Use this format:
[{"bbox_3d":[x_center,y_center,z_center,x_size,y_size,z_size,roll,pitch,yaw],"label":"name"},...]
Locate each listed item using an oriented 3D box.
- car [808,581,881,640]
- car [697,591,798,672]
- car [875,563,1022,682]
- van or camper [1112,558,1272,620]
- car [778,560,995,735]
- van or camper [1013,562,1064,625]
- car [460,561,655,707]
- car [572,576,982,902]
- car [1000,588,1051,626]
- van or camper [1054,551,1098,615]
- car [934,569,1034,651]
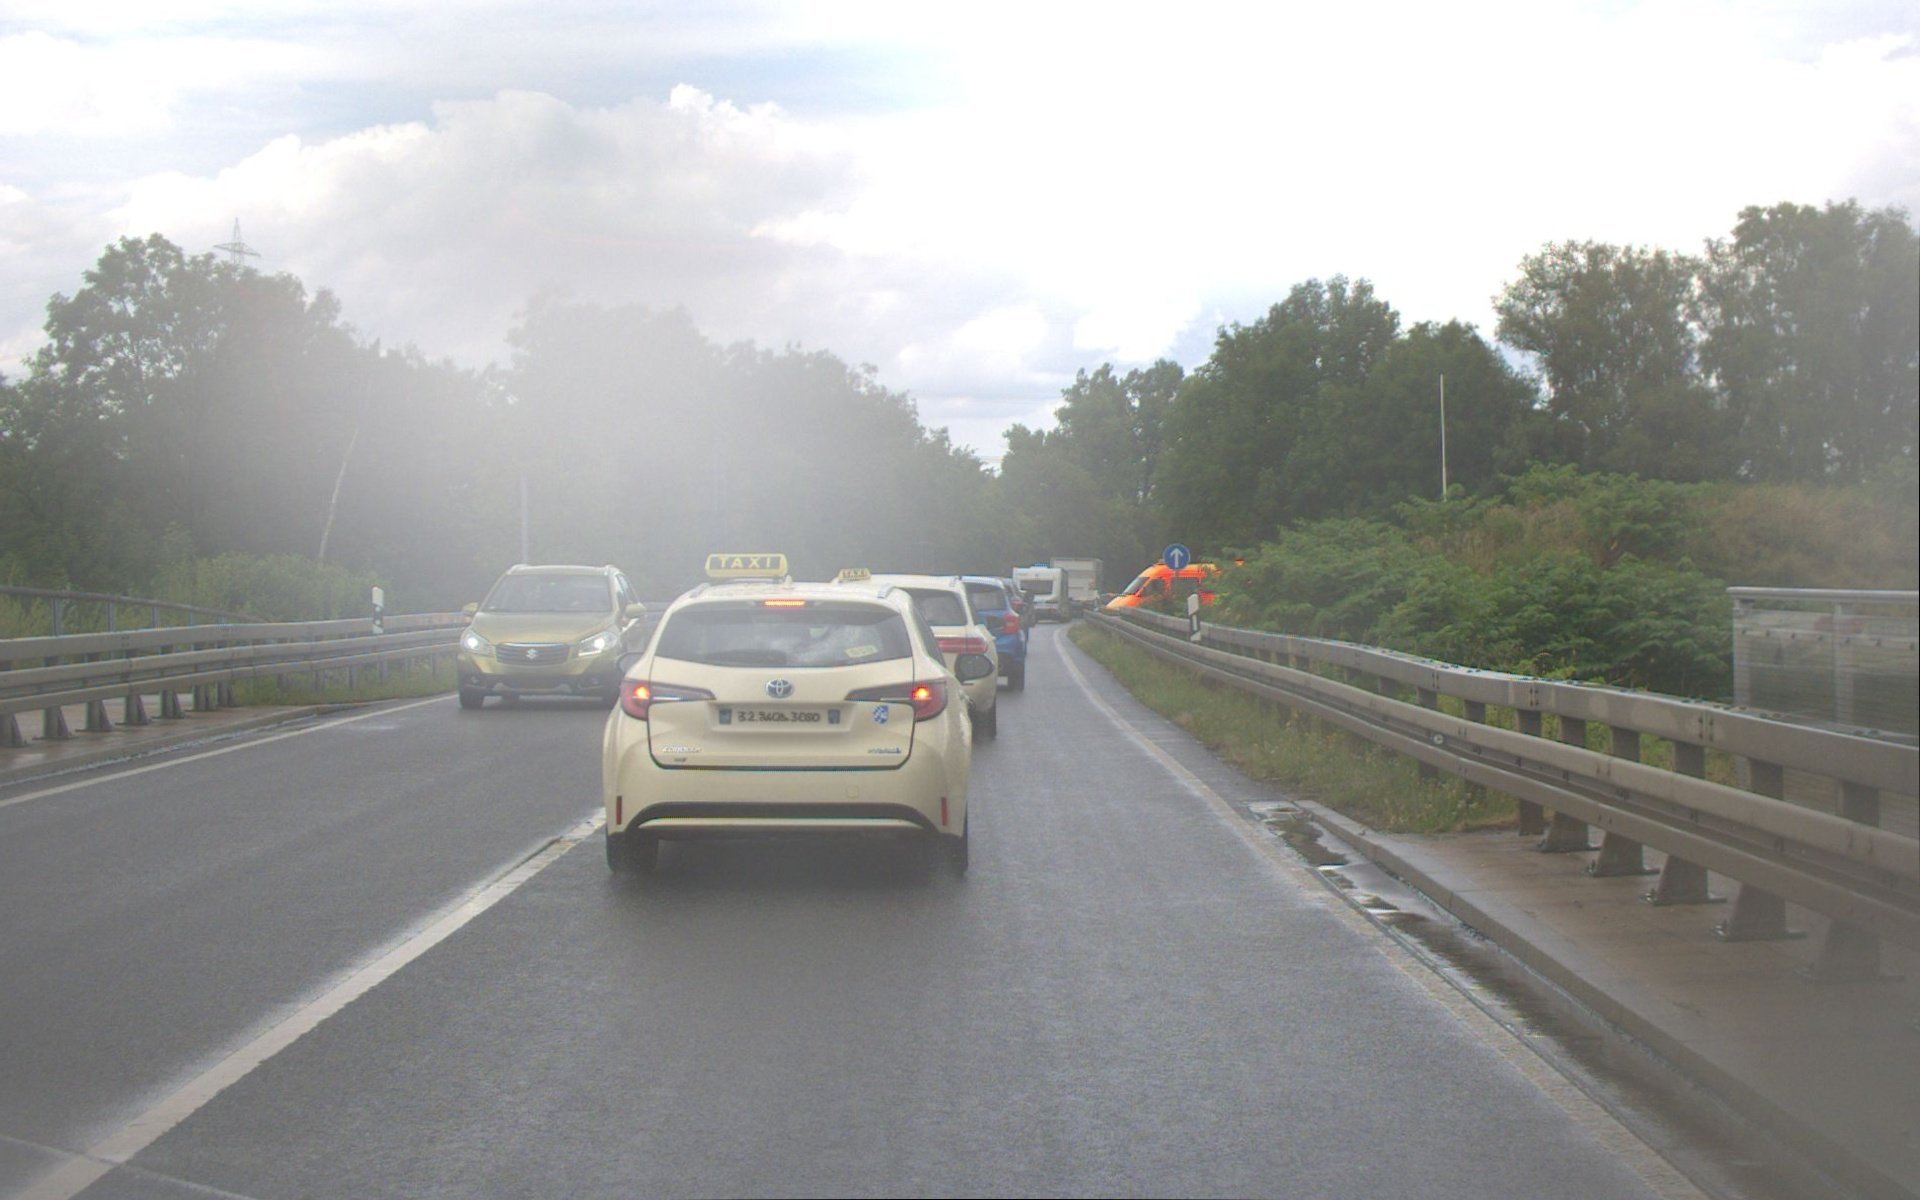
[{"bbox_3d":[-3.168,0.270,94.802,1.810,1.504,4.611,1,1,0],"label":"car"},{"bbox_3d":[-4.082,0.584,66.456,1.696,1.427,4.323,1,1,0],"label":"car"},{"bbox_3d":[-0.149,0.267,45.964,1.854,1.438,4.171,1,1,0],"label":"car"},{"bbox_3d":[8.798,-0.420,130.317,5.676,2.234,2.021,1,1,-14],"label":"van or camper"},{"bbox_3d":[-0.639,0.388,31.865,1.854,1.438,4.171,1,1,0],"label":"car"},{"bbox_3d":[3.705,-0.322,161.986,2.333,2.854,6.306,1,1,1],"label":"van or camper"},{"bbox_3d":[-4.418,0.374,38.198,1.713,1.511,3.860,1,0,0],"label":"car"},{"bbox_3d":[-0.841,0.622,17.802,1.854,1.389,4.171,1,1,0],"label":"car"},{"bbox_3d":[2.645,0.286,138.805,1.854,1.438,4.170,1,1,4],"label":"car"},{"bbox_3d":[6.489,-0.986,193.304,2.333,3.550,6.306,1,1,1],"label":"van or camper"},{"bbox_3d":[0.446,0.168,66.615,1.854,1.438,4.171,1,1,0],"label":"car"}]
